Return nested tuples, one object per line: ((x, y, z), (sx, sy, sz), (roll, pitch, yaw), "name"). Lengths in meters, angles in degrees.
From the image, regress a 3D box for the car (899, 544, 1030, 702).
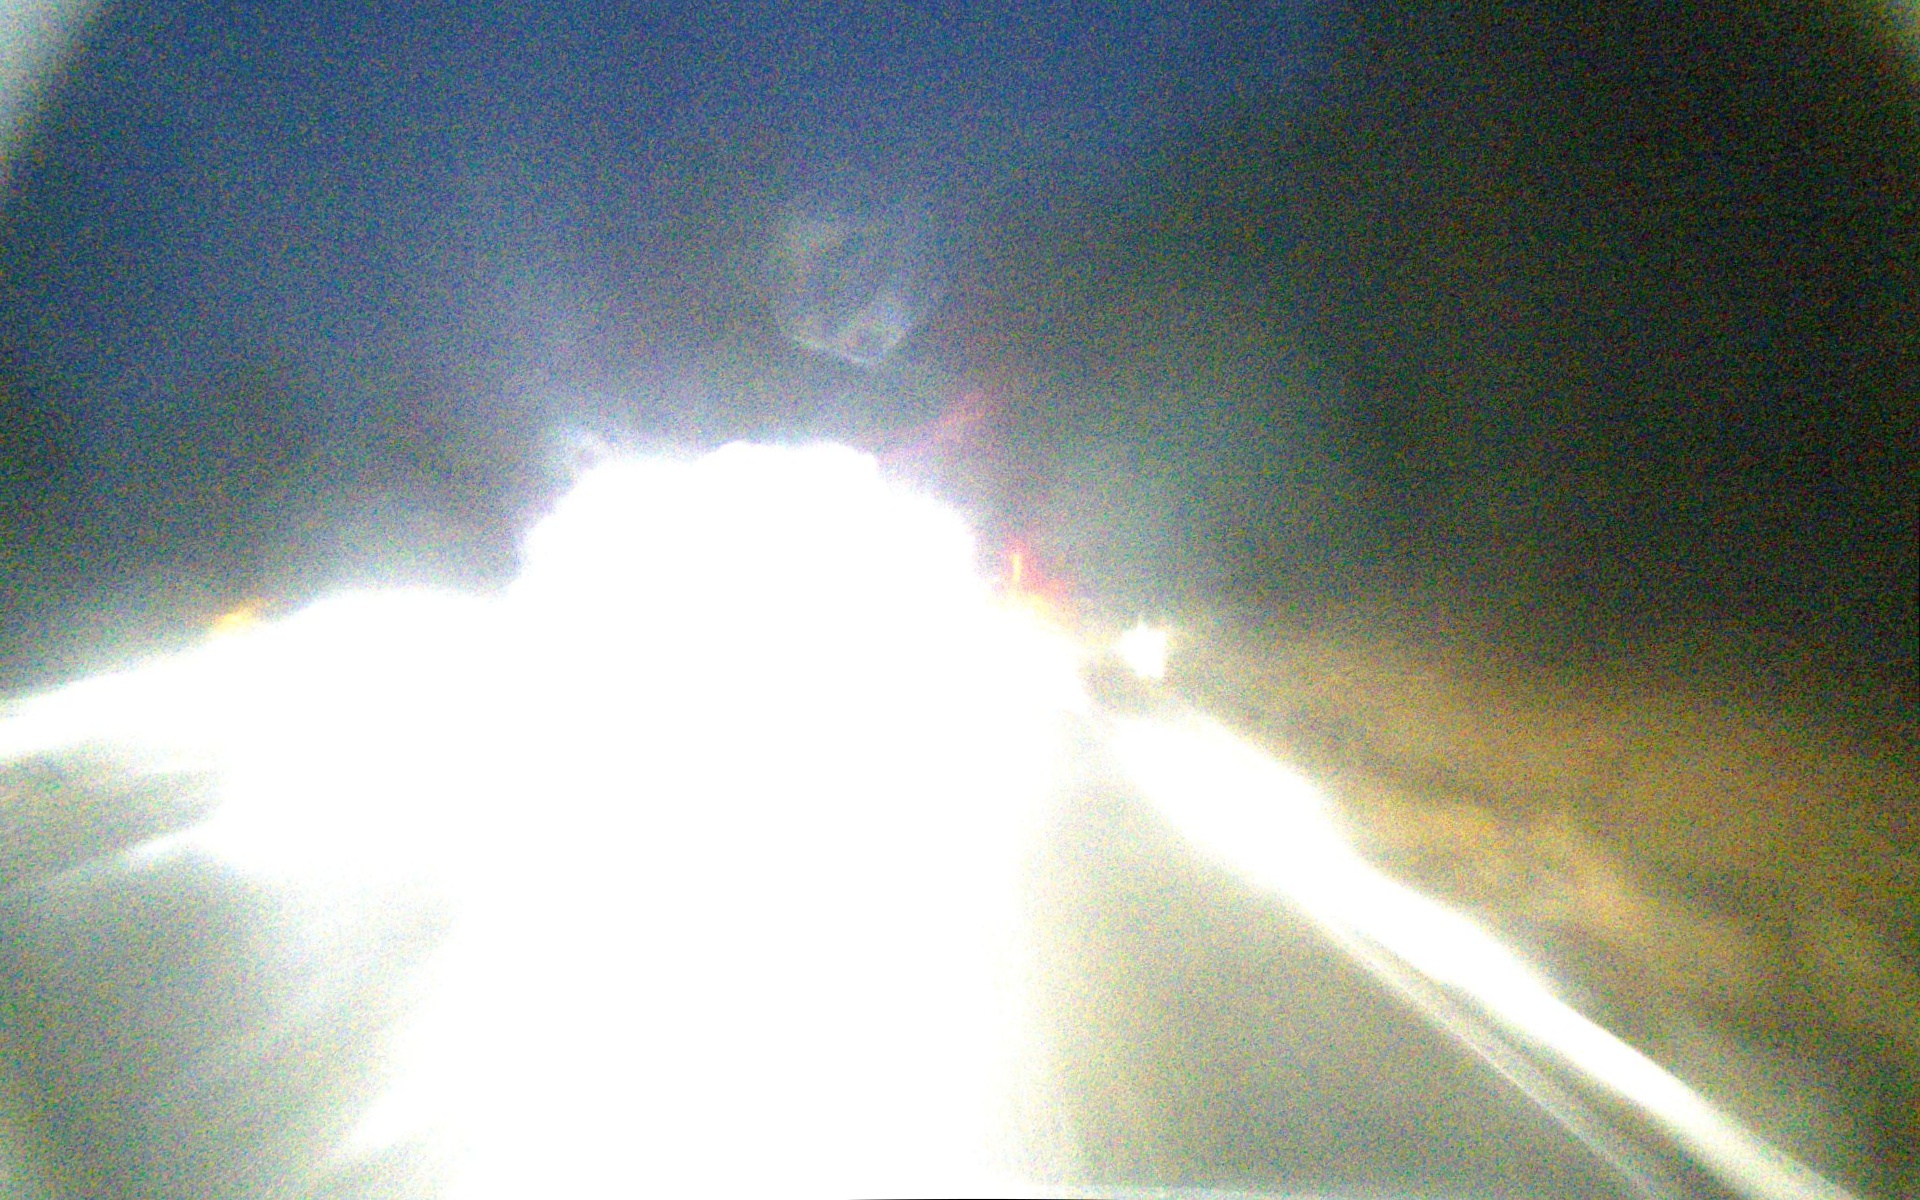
((0.037, 0.320, 30.281), (2.137, 2.601, 4.508), (2, 2, -1), "car")

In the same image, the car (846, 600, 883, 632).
((-5.138, 0.828, 89.816), (1.822, 1.666, 4.142), (0, 0, -1), "car")

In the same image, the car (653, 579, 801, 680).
((-3.793, 0.442, 27.593), (1.935, 1.542, 4.346), (0, 0, -1), "car")

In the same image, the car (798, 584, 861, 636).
((-4.089, 0.297, 52.114), (1.749, 1.536, 3.599), (1, 0, -1), "car")
